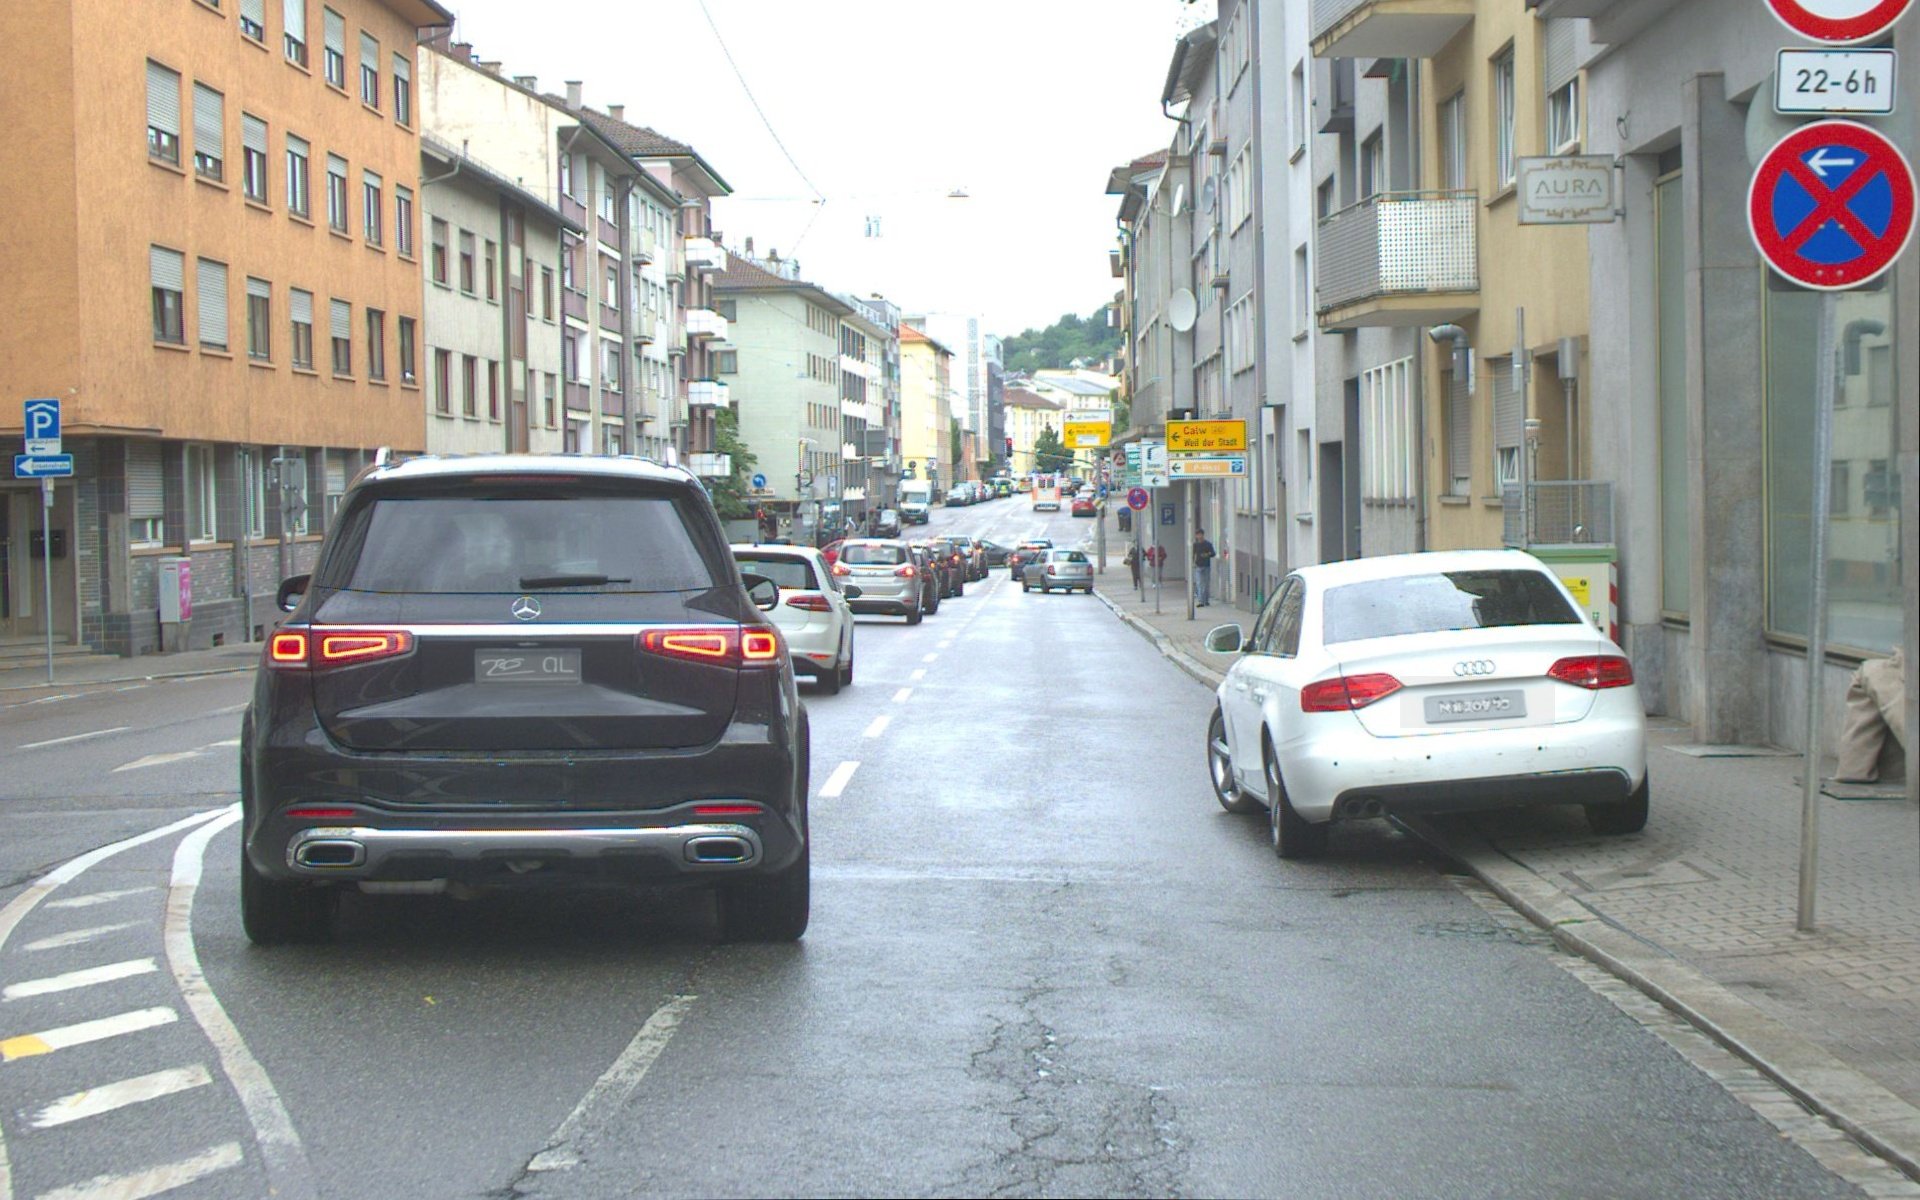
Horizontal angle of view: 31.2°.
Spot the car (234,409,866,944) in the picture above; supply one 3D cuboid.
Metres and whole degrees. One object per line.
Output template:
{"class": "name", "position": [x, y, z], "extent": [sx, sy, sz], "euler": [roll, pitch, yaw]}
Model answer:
{"class": "car", "position": [-1.688, 0.185, 13.714], "extent": [2.075, 1.759, 4.612], "euler": [0, 2, -8]}

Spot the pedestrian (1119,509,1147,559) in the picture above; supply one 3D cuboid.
{"class": "pedestrian", "position": [5.423, -2.067, 107.810], "extent": [0.821, 1.560, 0.899], "euler": [1, 1, 4]}

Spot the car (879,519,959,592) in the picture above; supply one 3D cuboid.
{"class": "car", "position": [-1.146, -1.300, 98.493], "extent": [1.994, 2.007, 4.000], "euler": [1, 2, 3]}

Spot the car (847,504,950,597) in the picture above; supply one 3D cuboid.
{"class": "car", "position": [-1.346, -1.130, 76.888], "extent": [1.994, 2.007, 4.000], "euler": [1, 2, 3]}

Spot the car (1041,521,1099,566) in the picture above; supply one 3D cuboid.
{"class": "car", "position": [3.535, -1.842, 111.361], "extent": [1.734, 1.383, 4.583], "euler": [1, 2, 0]}

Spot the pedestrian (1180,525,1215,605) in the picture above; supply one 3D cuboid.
{"class": "pedestrian", "position": [5.304, -0.790, 76.708], "extent": [0.655, 1.746, 0.741], "euler": [-3, 1, 6]}

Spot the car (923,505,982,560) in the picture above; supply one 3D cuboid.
{"class": "car", "position": [-0.276, -2.583, 130.845], "extent": [1.994, 2.007, 4.000], "euler": [1, 2, 3]}

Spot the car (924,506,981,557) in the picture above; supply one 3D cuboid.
{"class": "car", "position": [-0.299, -2.730, 136.273], "extent": [1.994, 2.007, 4.000], "euler": [1, 2, 3]}

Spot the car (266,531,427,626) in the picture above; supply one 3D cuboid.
{"class": "car", "position": [-10.097, -0.384, 56.853], "extent": [1.891, 1.453, 4.550], "euler": [1, 2, -1]}

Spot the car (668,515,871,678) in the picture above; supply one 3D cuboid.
{"class": "car", "position": [-1.879, -0.088, 35.058], "extent": [1.893, 1.505, 4.174], "euler": [2, 2, -1]}

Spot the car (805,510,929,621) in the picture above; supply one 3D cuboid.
{"class": "car", "position": [-1.732, -0.682, 65.068], "extent": [1.994, 2.007, 4.000], "euler": [1, 2, 3]}

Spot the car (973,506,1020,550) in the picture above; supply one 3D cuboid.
{"class": "car", "position": [1.752, -3.430, 162.907], "extent": [1.994, 2.007, 4.000], "euler": [1, 2, 3]}

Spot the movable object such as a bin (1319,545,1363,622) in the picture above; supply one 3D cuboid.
{"class": "movable object such as a bin", "position": [4.961, -0.214, 44.785], "extent": [0.473, 0.959, 0.564], "euler": [-4, 1, 3]}

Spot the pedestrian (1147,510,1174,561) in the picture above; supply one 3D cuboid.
{"class": "pedestrian", "position": [6.286, -2.029, 107.760], "extent": [0.821, 1.560, 0.899], "euler": [1, 1, 4]}

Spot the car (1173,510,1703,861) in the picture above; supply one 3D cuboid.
{"class": "car", "position": [2.304, 0.326, 17.825], "extent": [1.893, 1.398, 4.609], "euler": [-6, 2, -1]}
